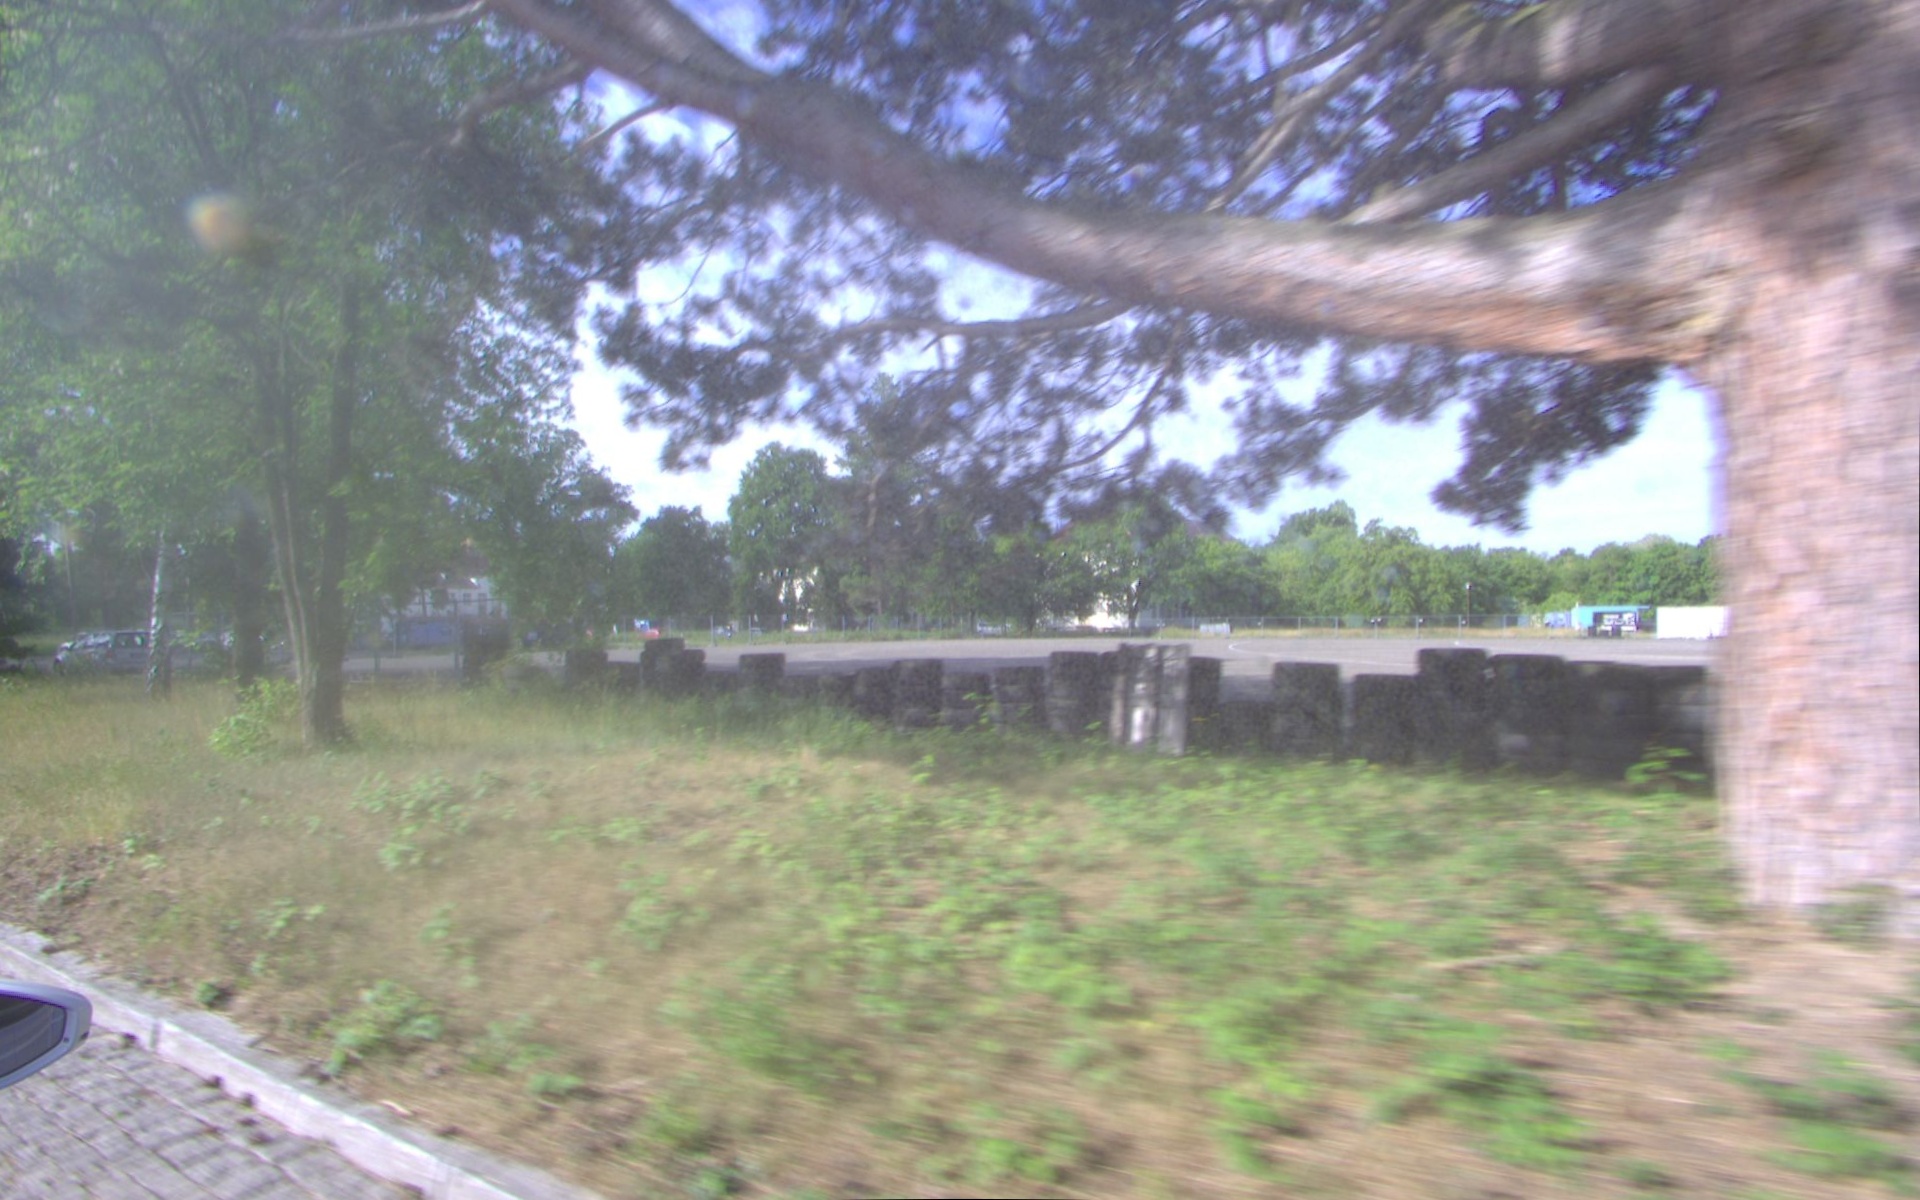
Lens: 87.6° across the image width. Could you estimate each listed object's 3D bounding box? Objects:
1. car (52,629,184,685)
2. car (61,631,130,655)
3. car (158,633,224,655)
[{"bbox_3d":[-24.254,1.604,28.814,3.940,1.486,1.665,-1,-1,30],"label":"car"},{"bbox_3d":[-49.793,2.460,57.676,4.267,1.329,1.729,-1,-1,30],"label":"car"},{"bbox_3d":[-47.632,2.707,62.006,4.267,1.329,1.729,-1,-1,30],"label":"car"}]
